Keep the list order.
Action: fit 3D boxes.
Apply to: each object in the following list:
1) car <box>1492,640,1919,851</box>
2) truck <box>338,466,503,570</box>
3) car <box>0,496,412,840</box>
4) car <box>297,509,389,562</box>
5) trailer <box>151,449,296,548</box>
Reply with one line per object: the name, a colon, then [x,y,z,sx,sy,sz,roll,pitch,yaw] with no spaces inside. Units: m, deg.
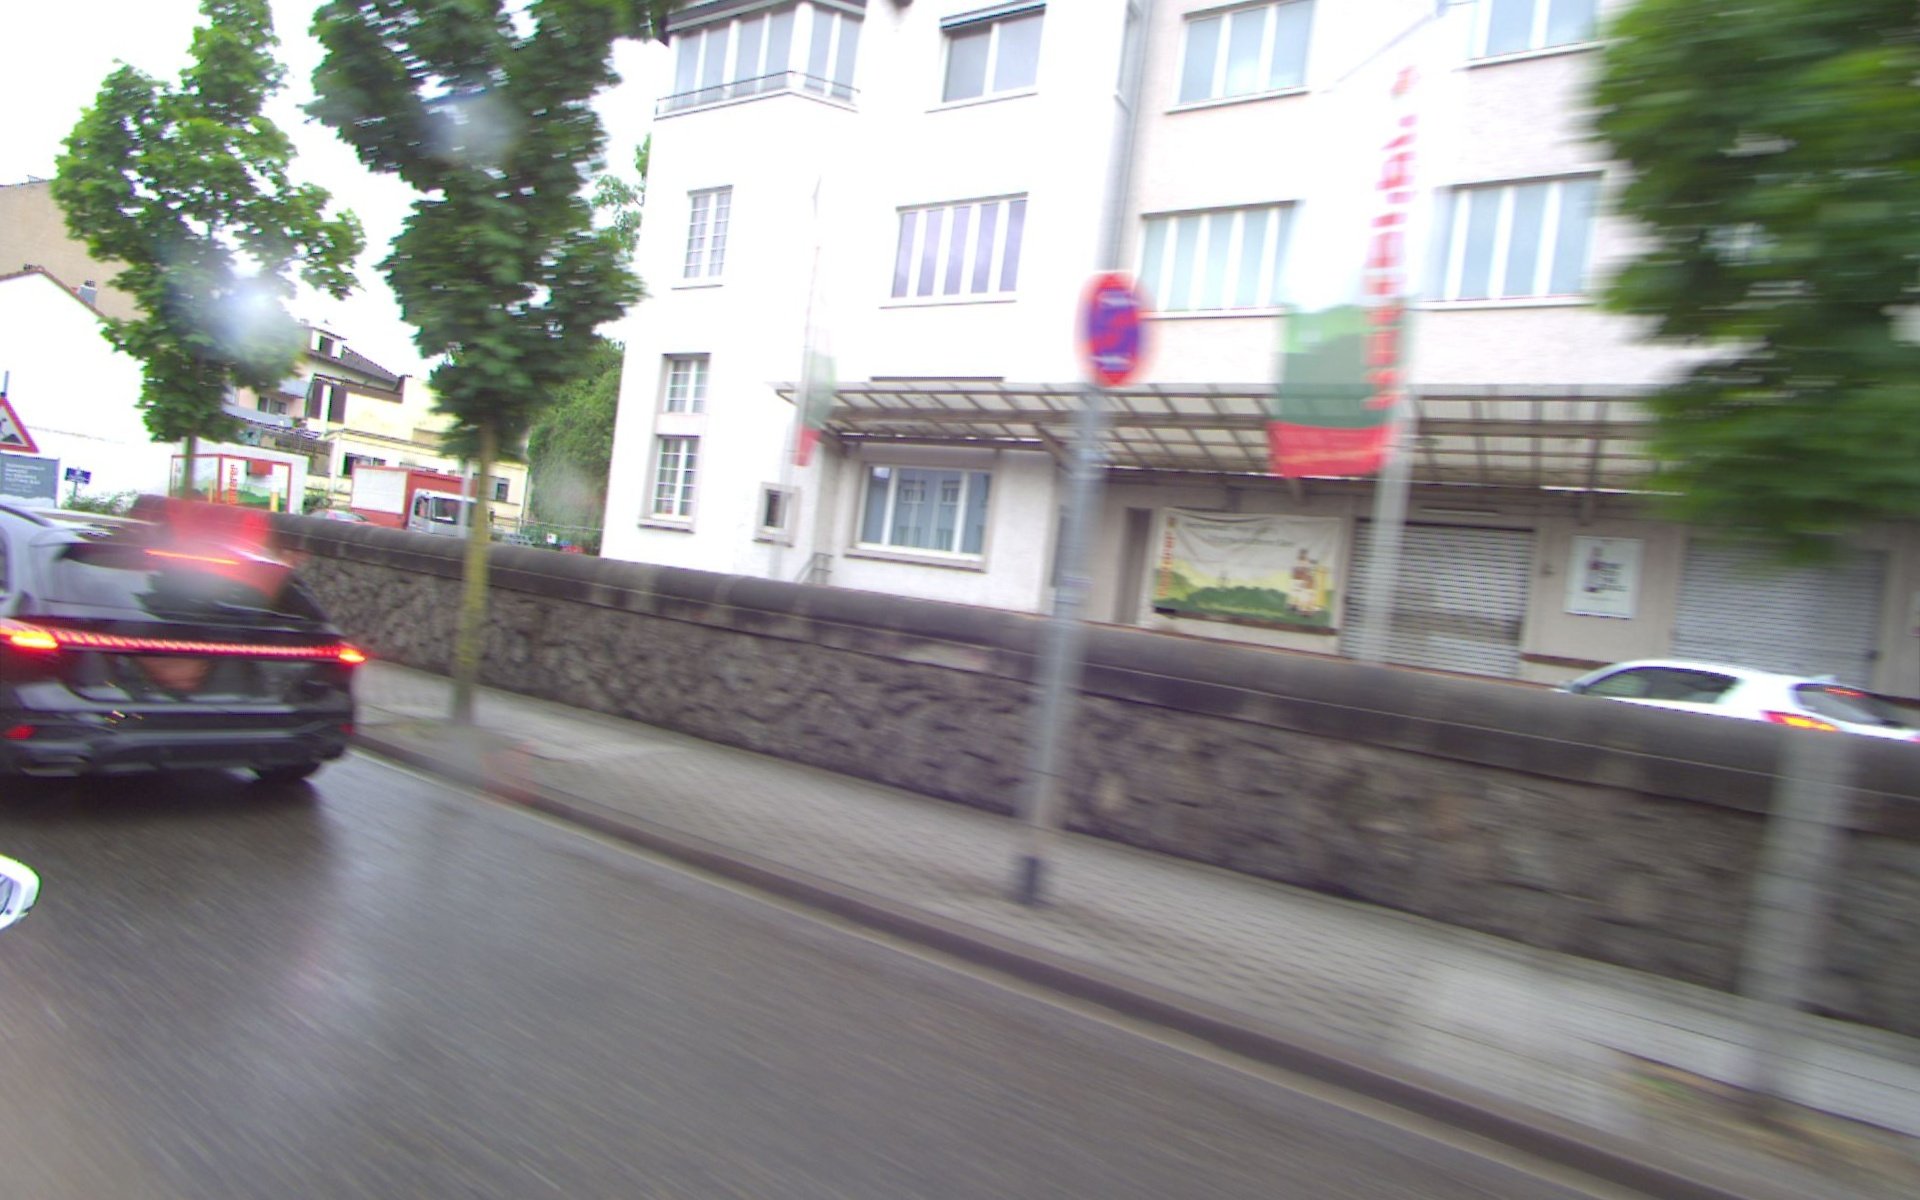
car: [8.167,1.449,11.087,1.895,1.586,3.975,8,-1,-10]
truck: [-20.330,-3.127,37.763,6.822,3.258,2.630,7,2,37]
car: [-5.565,0.135,6.129,4.556,1.420,1.791,7,0,31]
car: [-21.717,-2.275,35.362,3.214,1.475,1.589,7,1,36]
trailer: [-24.454,-3.389,33.328,5.305,2.752,2.126,8,3,35]
